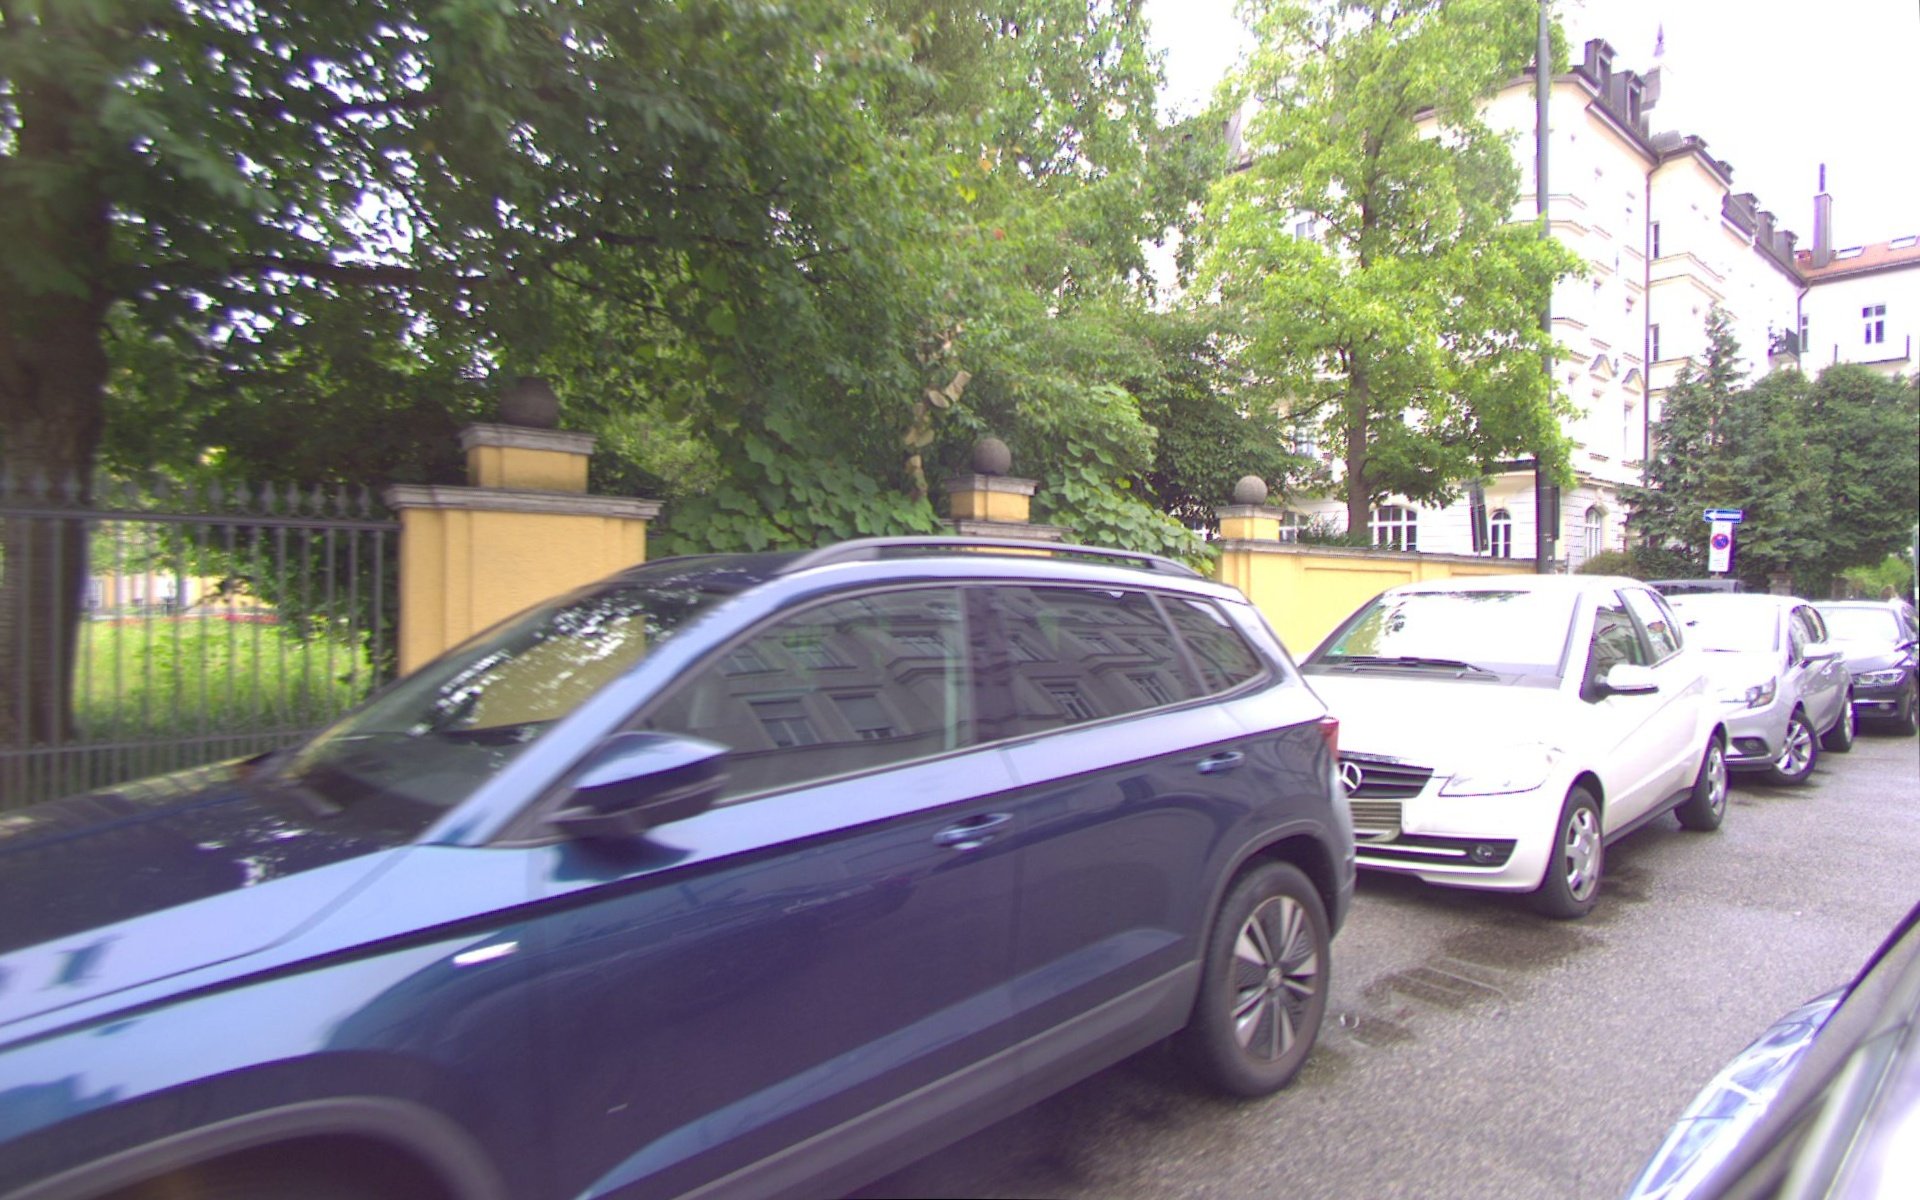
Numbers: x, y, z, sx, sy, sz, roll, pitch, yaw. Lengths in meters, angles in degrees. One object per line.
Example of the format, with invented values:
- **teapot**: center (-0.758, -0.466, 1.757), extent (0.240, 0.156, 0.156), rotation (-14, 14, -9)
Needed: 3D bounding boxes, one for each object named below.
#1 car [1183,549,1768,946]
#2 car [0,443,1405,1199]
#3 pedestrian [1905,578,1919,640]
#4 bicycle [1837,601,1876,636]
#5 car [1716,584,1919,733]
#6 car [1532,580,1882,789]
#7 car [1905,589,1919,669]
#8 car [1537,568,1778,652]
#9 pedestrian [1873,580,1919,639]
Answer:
- **car**: center (3.333, 0.563, 6.117), extent (4.245, 1.590, 1.716), rotation (0, 1, -41)
- **car**: center (-0.779, 0.597, 2.559), extent (4.610, 1.590, 1.716), rotation (0, 1, -41)
- **pedestrian**: center (28.020, 0.267, 29.278), extent (1.033, 1.778, 0.875), rotation (0, 0, -40)
- **bicycle**: center (26.416, 0.543, 29.814), extent (1.745, 0.997, 0.449), rotation (0, 0, -34)
- **car**: center (10.790, 0.548, 12.205), extent (4.869, 1.471, 1.716), rotation (-1, 1, -41)
- **car**: center (6.860, 0.568, 9.133), extent (4.111, 1.471, 1.716), rotation (0, 1, -41)
- **car**: center (18.217, 0.558, 16.153), extent (1.758, 1.431, 4.586), rotation (0, 1, -4)
- **car**: center (17.140, 0.226, 25.043), extent (1.713, 1.896, 4.668), rotation (3, -1, -44)
- **pedestrian**: center (27.664, 0.271, 29.909), extent (1.033, 1.711, 0.875), rotation (0, 0, -40)
